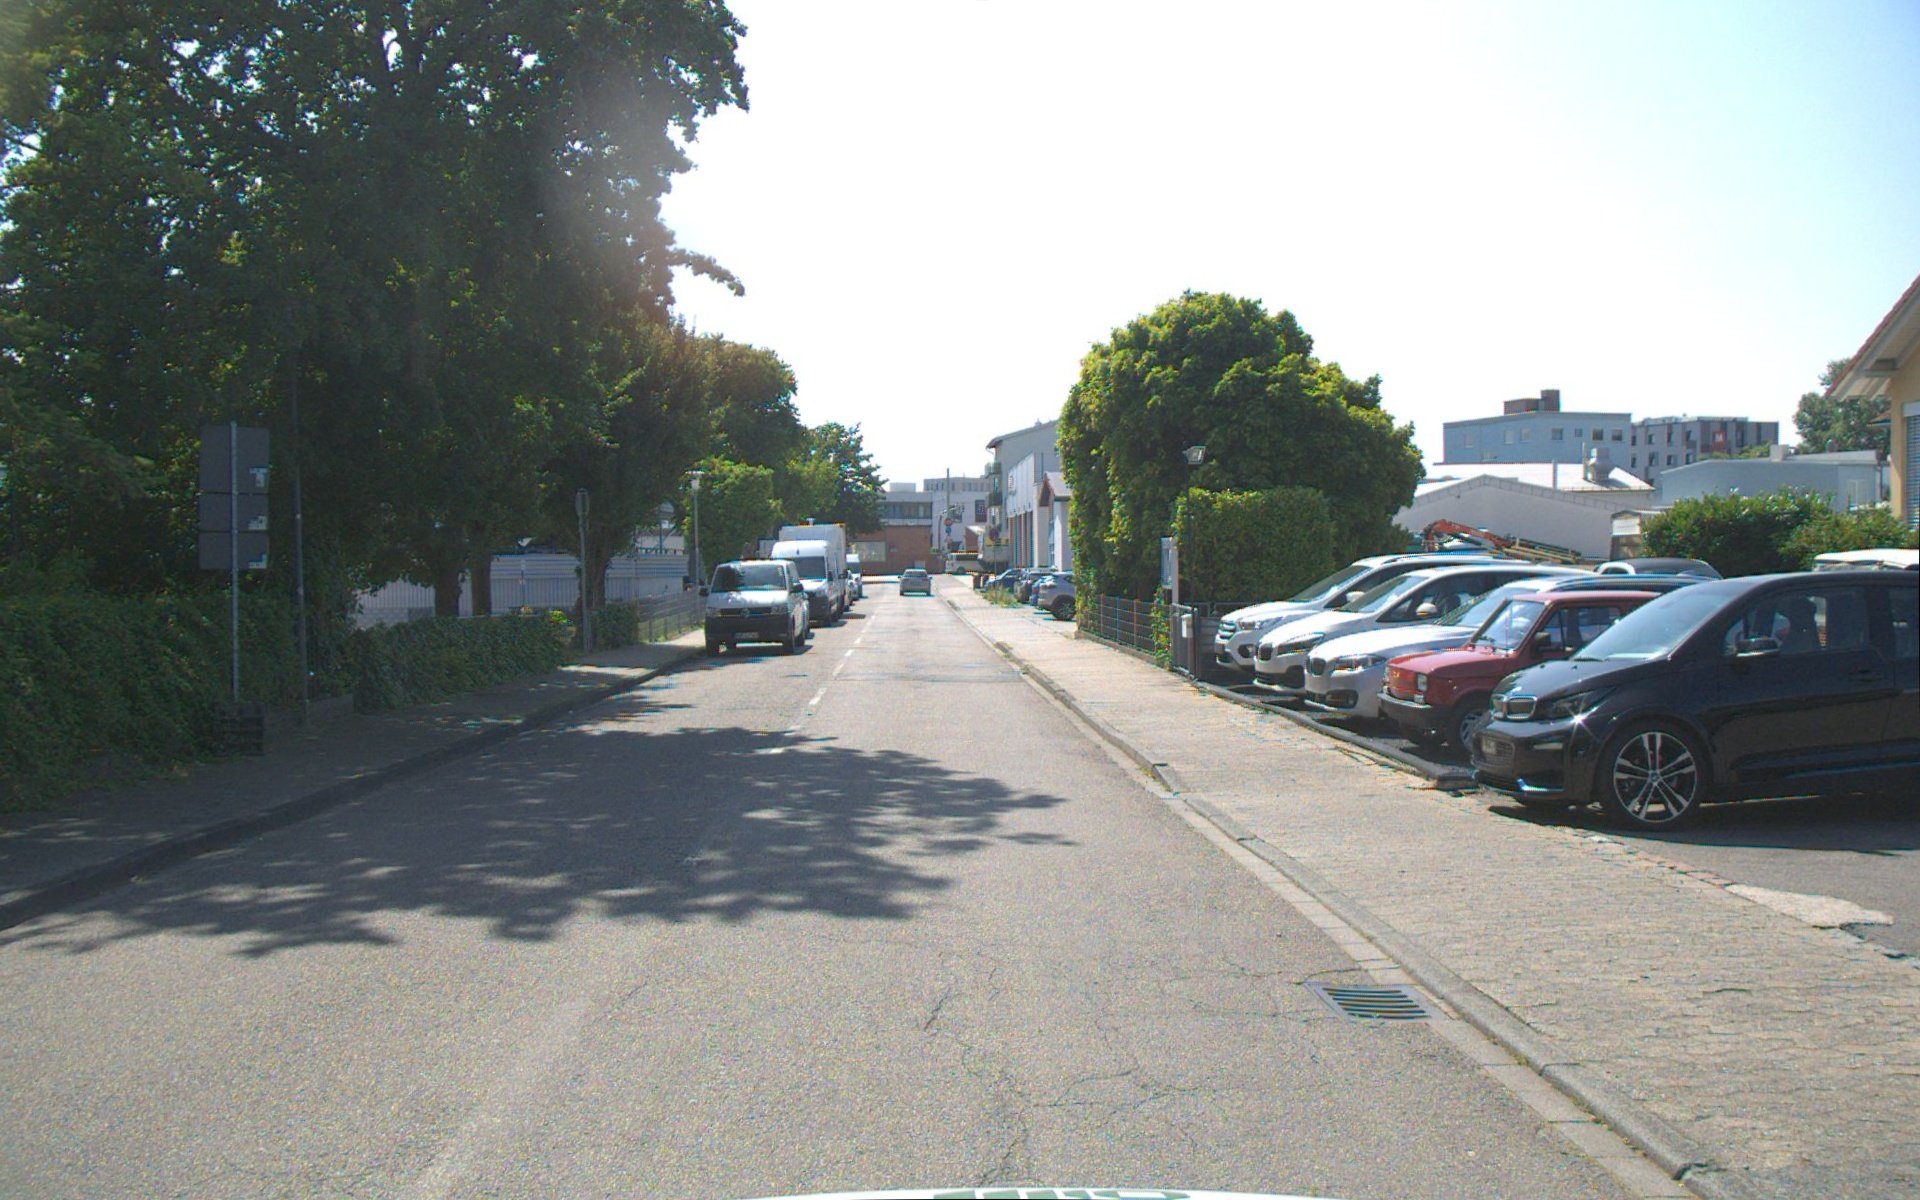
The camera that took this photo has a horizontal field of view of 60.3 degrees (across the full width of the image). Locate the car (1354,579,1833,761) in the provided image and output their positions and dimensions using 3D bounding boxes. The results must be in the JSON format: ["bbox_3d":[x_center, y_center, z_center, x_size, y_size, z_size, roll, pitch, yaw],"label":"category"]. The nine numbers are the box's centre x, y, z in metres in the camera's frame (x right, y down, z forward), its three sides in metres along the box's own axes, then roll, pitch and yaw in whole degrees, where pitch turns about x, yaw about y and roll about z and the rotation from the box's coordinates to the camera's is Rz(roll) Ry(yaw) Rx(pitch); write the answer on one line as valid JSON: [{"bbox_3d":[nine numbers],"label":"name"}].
[{"bbox_3d":[5.331,0.556,14.167,3.479,1.358,1.557,-2,0,-4],"label":"car"}]

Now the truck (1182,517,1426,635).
[{"bbox_3d":[11.235,-0.792,54.424,7.367,3.482,2.526,2,1,-2],"label":"truck"}]

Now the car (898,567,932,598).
[{"bbox_3d":[-2.608,-1.020,95.029,1.852,1.714,3.956,-1,1,-2],"label":"car"}]

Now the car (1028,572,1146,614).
[{"bbox_3d":[4.812,-0.275,63.031,4.266,1.466,1.891,-1,1,-3],"label":"car"}]

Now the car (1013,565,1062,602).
[{"bbox_3d":[3.549,-0.788,76.383,1.821,1.595,4.949,-1,2,-3],"label":"car"}]

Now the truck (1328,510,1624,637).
[{"bbox_3d":[15.556,-0.808,50.312,8.105,3.674,2.954,-1,1,1],"label":"truck"}]

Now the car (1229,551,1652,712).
[{"bbox_3d":[5.535,0.335,19.339,4.320,1.554,1.894,-3,0,-8],"label":"car"}]

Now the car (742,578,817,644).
[{"bbox_3d":[-4.717,0.243,43.763,1.680,1.570,4.398,-3,1,-3],"label":"car"}]

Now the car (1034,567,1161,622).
[{"bbox_3d":[4.706,-0.200,56.899,4.117,1.711,1.766,2,1,-3],"label":"car"}]

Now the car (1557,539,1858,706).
[{"bbox_3d":[9.226,0.258,20.773,1.954,1.892,3.787,0,0,-3],"label":"car"}]

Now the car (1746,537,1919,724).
[{"bbox_3d":[9.906,0.256,16.630,1.954,1.758,3.998,-1,1,-3],"label":"car"}]

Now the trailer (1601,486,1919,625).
[{"bbox_3d":[24.052,-1.309,49.974,8.159,3.930,3.069,-1,1,3],"label":"trailer"}]

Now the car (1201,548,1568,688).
[{"bbox_3d":[5.507,0.205,21.774,4.316,1.682,1.842,-1,1,-5],"label":"car"}]

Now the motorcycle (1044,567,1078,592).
[{"bbox_3d":[5.681,-1.165,93.345,1.718,1.301,0.794,-3,1,-11],"label":"motorcycle"}]

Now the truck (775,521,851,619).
[{"bbox_3d":[-5.522,-1.110,62.438,2.633,3.425,7.123,-2,1,-5],"label":"truck"}]

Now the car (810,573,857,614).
[{"bbox_3d":[-5.255,-0.296,69.055,1.706,1.547,4.309,-1,1,-1],"label":"car"}]

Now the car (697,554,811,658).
[{"bbox_3d":[-4.472,0.099,36.593,1.932,2.048,5.055,-3,1,-2],"label":"car"}]

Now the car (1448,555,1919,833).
[{"bbox_3d":[5.439,0.547,11.155,3.727,1.652,1.758,-1,1,-4],"label":"car"}]

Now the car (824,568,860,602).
[{"bbox_3d":[-6.172,-0.807,86.258,1.672,1.652,3.968,-2,1,-7],"label":"car"}]

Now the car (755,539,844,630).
[{"bbox_3d":[-5.010,-0.500,52.563,2.124,2.641,6.919,-2,1,-1],"label":"car"}]

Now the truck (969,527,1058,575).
[{"bbox_3d":[4.680,-4.296,144.765,7.222,3.708,2.763,-4,2,-8],"label":"truck"}]

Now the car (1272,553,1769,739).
[{"bbox_3d":[5.549,0.421,16.658,4.320,1.523,1.894,-3,0,-8],"label":"car"}]

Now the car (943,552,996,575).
[{"bbox_3d":[0.877,-3.395,153.049,4.587,1.991,1.905,-2,2,-21],"label":"car"}]

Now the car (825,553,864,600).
[{"bbox_3d":[-6.378,-1.341,91.421,1.966,2.407,5.226,-4,2,-4],"label":"car"}]

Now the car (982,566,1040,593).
[{"bbox_3d":[2.869,-1.150,93.520,3.187,1.423,1.673,-1,1,-2],"label":"car"}]
